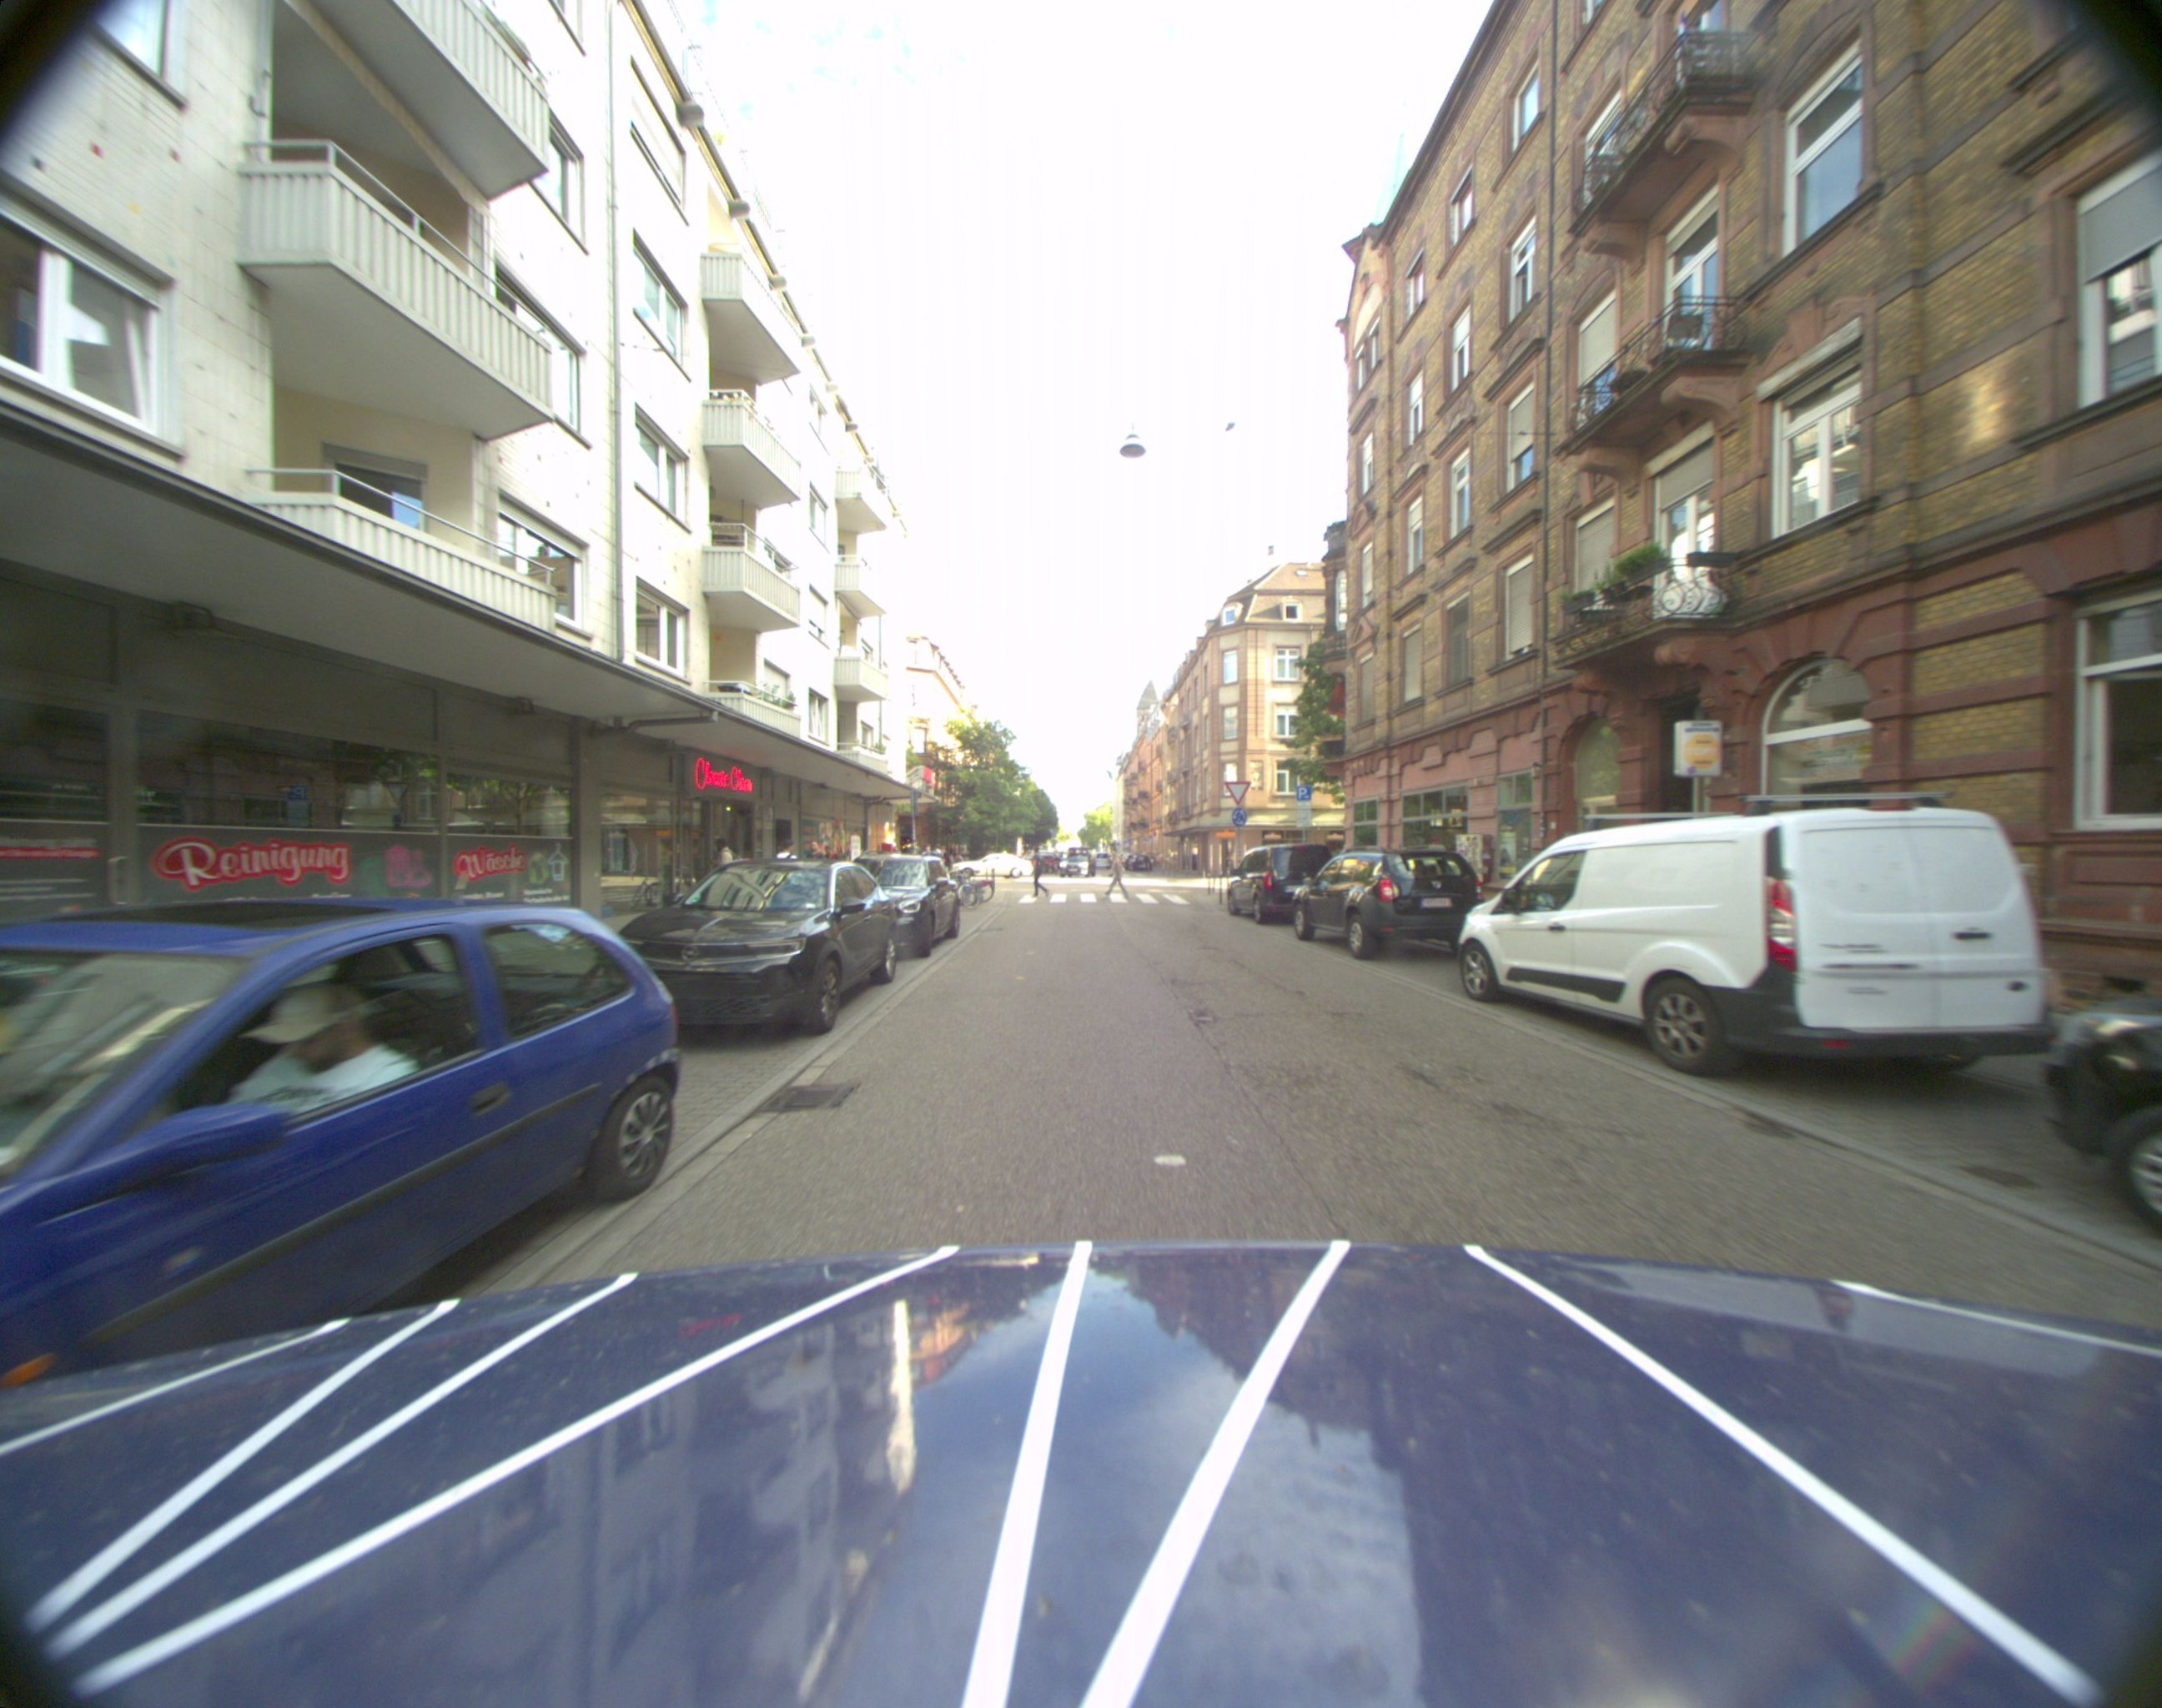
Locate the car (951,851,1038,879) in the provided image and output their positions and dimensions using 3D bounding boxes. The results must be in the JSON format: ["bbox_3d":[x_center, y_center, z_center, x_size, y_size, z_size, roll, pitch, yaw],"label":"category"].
[{"bbox_3d":[-5.215,0.652,45.564,4.841,1.588,1.941,0,0,-21],"label":"car"}]

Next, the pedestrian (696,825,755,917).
[{"bbox_3d":[-7.041,0.331,15.083,0.817,1.736,0.715,2,0,-7],"label":"pedestrian"}]

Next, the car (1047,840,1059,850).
[{"bbox_3d":[-4.949,-1.589,134.306,1.850,1.724,3.998,-1,0,-6],"label":"car"}]

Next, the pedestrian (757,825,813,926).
[{"bbox_3d":[-5.281,0.372,13.619,0.613,1.716,1.126,-1,0,-5],"label":"pedestrian"}]

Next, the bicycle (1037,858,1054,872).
[{"bbox_3d":[-2.767,0.845,58.793,0.473,0.979,1.860,2,1,-32],"label":"bicycle"}]

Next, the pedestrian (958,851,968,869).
[{"bbox_3d":[-8.700,0.458,56.046,0.729,1.307,0.520,-1,1,-13],"label":"pedestrian"}]

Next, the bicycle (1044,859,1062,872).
[{"bbox_3d":[-2.173,0.875,58.949,0.473,0.979,1.860,2,1,-32],"label":"bicycle"}]

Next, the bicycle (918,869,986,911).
[{"bbox_3d":[-3.547,0.992,20.977,1.794,1.064,0.586,2,0,-10],"label":"bicycle"}]

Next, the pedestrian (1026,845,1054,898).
[{"bbox_3d":[-1.412,0.606,26.455,0.856,1.830,0.679,0,2,6],"label":"pedestrian"}]

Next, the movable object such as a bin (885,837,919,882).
[{"bbox_3d":[-7.103,0.193,30.189,0.781,1.734,2.423,0,1,0],"label":"movable object such as a bin"}]

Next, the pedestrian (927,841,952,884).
[{"bbox_3d":[-6.116,0.365,32.821,0.712,1.786,0.634,3,0,32],"label":"pedestrian"}]

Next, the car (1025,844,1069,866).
[{"bbox_3d":[-4.038,0.096,89.737,4.747,2.409,1.995,-1,0,-33],"label":"car"}]

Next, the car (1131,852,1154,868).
[{"bbox_3d":[5.407,0.530,67.011,1.723,1.360,3.829,-1,0,0],"label":"car"}]

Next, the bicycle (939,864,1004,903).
[{"bbox_3d":[-3.436,0.920,23.909,1.888,1.119,0.907,3,0,-3],"label":"bicycle"}]

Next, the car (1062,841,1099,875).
[{"bbox_3d":[0.004,0.243,48.536,1.791,2.051,4.002,1,1,9],"label":"car"}]

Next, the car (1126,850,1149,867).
[{"bbox_3d":[5.336,0.405,72.144,1.861,1.575,4.398,-1,1,0],"label":"car"}]

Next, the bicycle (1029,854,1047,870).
[{"bbox_3d":[-3.308,0.635,58.105,0.476,1.136,1.834,2,1,-32],"label":"bicycle"}]

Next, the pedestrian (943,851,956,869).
[{"bbox_3d":[-9.769,0.435,56.397,0.715,1.371,0.671,1,2,34],"label":"pedestrian"}]

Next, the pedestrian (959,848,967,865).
[{"bbox_3d":[-9.269,0.225,59.523,0.467,1.320,0.620,0,2,-25],"label":"pedestrian"}]

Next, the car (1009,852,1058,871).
[{"bbox_3d":[-3.807,0.580,61.041,3.593,1.372,1.510,2,0,-26],"label":"car"}]

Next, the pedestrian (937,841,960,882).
[{"bbox_3d":[-5.839,0.332,33.417,0.716,1.786,0.630,3,0,-36],"label":"pedestrian"}]

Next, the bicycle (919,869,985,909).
[{"bbox_3d":[-3.669,0.996,21.660,1.794,1.064,0.568,2,0,-11],"label":"bicycle"}]

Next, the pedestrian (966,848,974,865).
[{"bbox_3d":[-8.626,0.212,59.215,0.467,1.320,0.620,0,2,-25],"label":"pedestrian"}]

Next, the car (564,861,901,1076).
[{"bbox_3d":[-3.078,0.885,7.662,1.693,1.568,3.901,1,0,-2],"label":"car"}]

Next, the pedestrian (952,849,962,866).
[{"bbox_3d":[-9.527,0.237,58.375,0.549,1.293,0.620,0,2,-25],"label":"pedestrian"}]

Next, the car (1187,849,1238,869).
[{"bbox_3d":[11.577,0.433,66.896,4.000,1.611,1.998,-1,0,-9],"label":"car"}]

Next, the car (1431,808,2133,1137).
[{"bbox_3d":[5.007,0.669,6.536,1.925,1.860,4.436,0,0,-1],"label":"car"}]

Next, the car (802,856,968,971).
[{"bbox_3d":[-3.083,0.851,12.762,1.797,1.596,3.923,1,0,-1],"label":"car"}]

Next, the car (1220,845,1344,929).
[{"bbox_3d":[4.757,0.719,18.646,1.764,1.763,4.405,-2,0,-1],"label":"car"}]

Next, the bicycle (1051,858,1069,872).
[{"bbox_3d":[-1.665,0.864,58.985,0.473,0.979,1.860,2,1,-32],"label":"bicycle"}]

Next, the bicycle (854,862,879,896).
[{"bbox_3d":[-7.187,0.824,25.466,0.679,1.037,1.730,0,2,-20],"label":"bicycle"}]

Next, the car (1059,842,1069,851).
[{"bbox_3d":[-3.717,-1.737,169.958,1.998,1.877,4.000,-1,0,2],"label":"car"}]

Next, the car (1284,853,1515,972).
[{"bbox_3d":[4.909,0.794,12.465,1.999,1.628,4.145,0,0,-1],"label":"car"}]

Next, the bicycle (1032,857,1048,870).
[{"bbox_3d":[-3.166,0.714,58.543,0.419,0.979,1.834,2,1,-32],"label":"bicycle"}]

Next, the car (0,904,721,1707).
[{"bbox_3d":[-2.803,1.003,2.164,1.599,1.431,4.030,1,0,1],"label":"car"}]

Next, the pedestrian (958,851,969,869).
[{"bbox_3d":[-8.775,0.459,56.580,0.729,1.307,0.520,-1,1,-13],"label":"pedestrian"}]

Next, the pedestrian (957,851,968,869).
[{"bbox_3d":[-8.927,0.462,57.205,0.729,1.307,0.607,-1,1,-13],"label":"pedestrian"}]

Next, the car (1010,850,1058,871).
[{"bbox_3d":[-3.933,0.581,63.406,3.593,1.606,1.510,2,0,-24],"label":"car"}]

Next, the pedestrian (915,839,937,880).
[{"bbox_3d":[-6.819,0.251,33.474,0.654,1.786,0.659,3,0,12],"label":"pedestrian"}]

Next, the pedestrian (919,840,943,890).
[{"bbox_3d":[-5.320,0.376,27.011,0.765,1.743,0.930,0,1,-6],"label":"pedestrian"}]

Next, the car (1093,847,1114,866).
[{"bbox_3d":[2.306,0.290,79.255,1.834,1.780,4.330,-2,-1,-2],"label":"car"}]

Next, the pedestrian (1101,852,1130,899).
[{"bbox_3d":[1.175,0.725,25.842,0.810,1.569,0.614,0,0,-18],"label":"pedestrian"}]

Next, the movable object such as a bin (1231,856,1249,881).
[{"bbox_3d":[4.643,0.428,22.173,0.384,0.710,0.475,-1,0,-5],"label":"movable object such as a bin"}]

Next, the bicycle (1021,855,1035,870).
[{"bbox_3d":[-4.080,0.651,58.275,0.476,1.094,1.671,2,1,-25],"label":"bicycle"}]

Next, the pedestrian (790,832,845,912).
[{"bbox_3d":[-5.960,0.394,17.260,0.851,1.736,1.048,2,0,-3],"label":"pedestrian"}]

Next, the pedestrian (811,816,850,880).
[{"bbox_3d":[-6.507,-0.155,19.754,0.724,1.623,0.712,2,0,-3],"label":"pedestrian"}]

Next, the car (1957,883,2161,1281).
[{"bbox_3d":[4.969,0.906,1.587,1.746,1.475,3.983,-1,1,2],"label":"car"}]
